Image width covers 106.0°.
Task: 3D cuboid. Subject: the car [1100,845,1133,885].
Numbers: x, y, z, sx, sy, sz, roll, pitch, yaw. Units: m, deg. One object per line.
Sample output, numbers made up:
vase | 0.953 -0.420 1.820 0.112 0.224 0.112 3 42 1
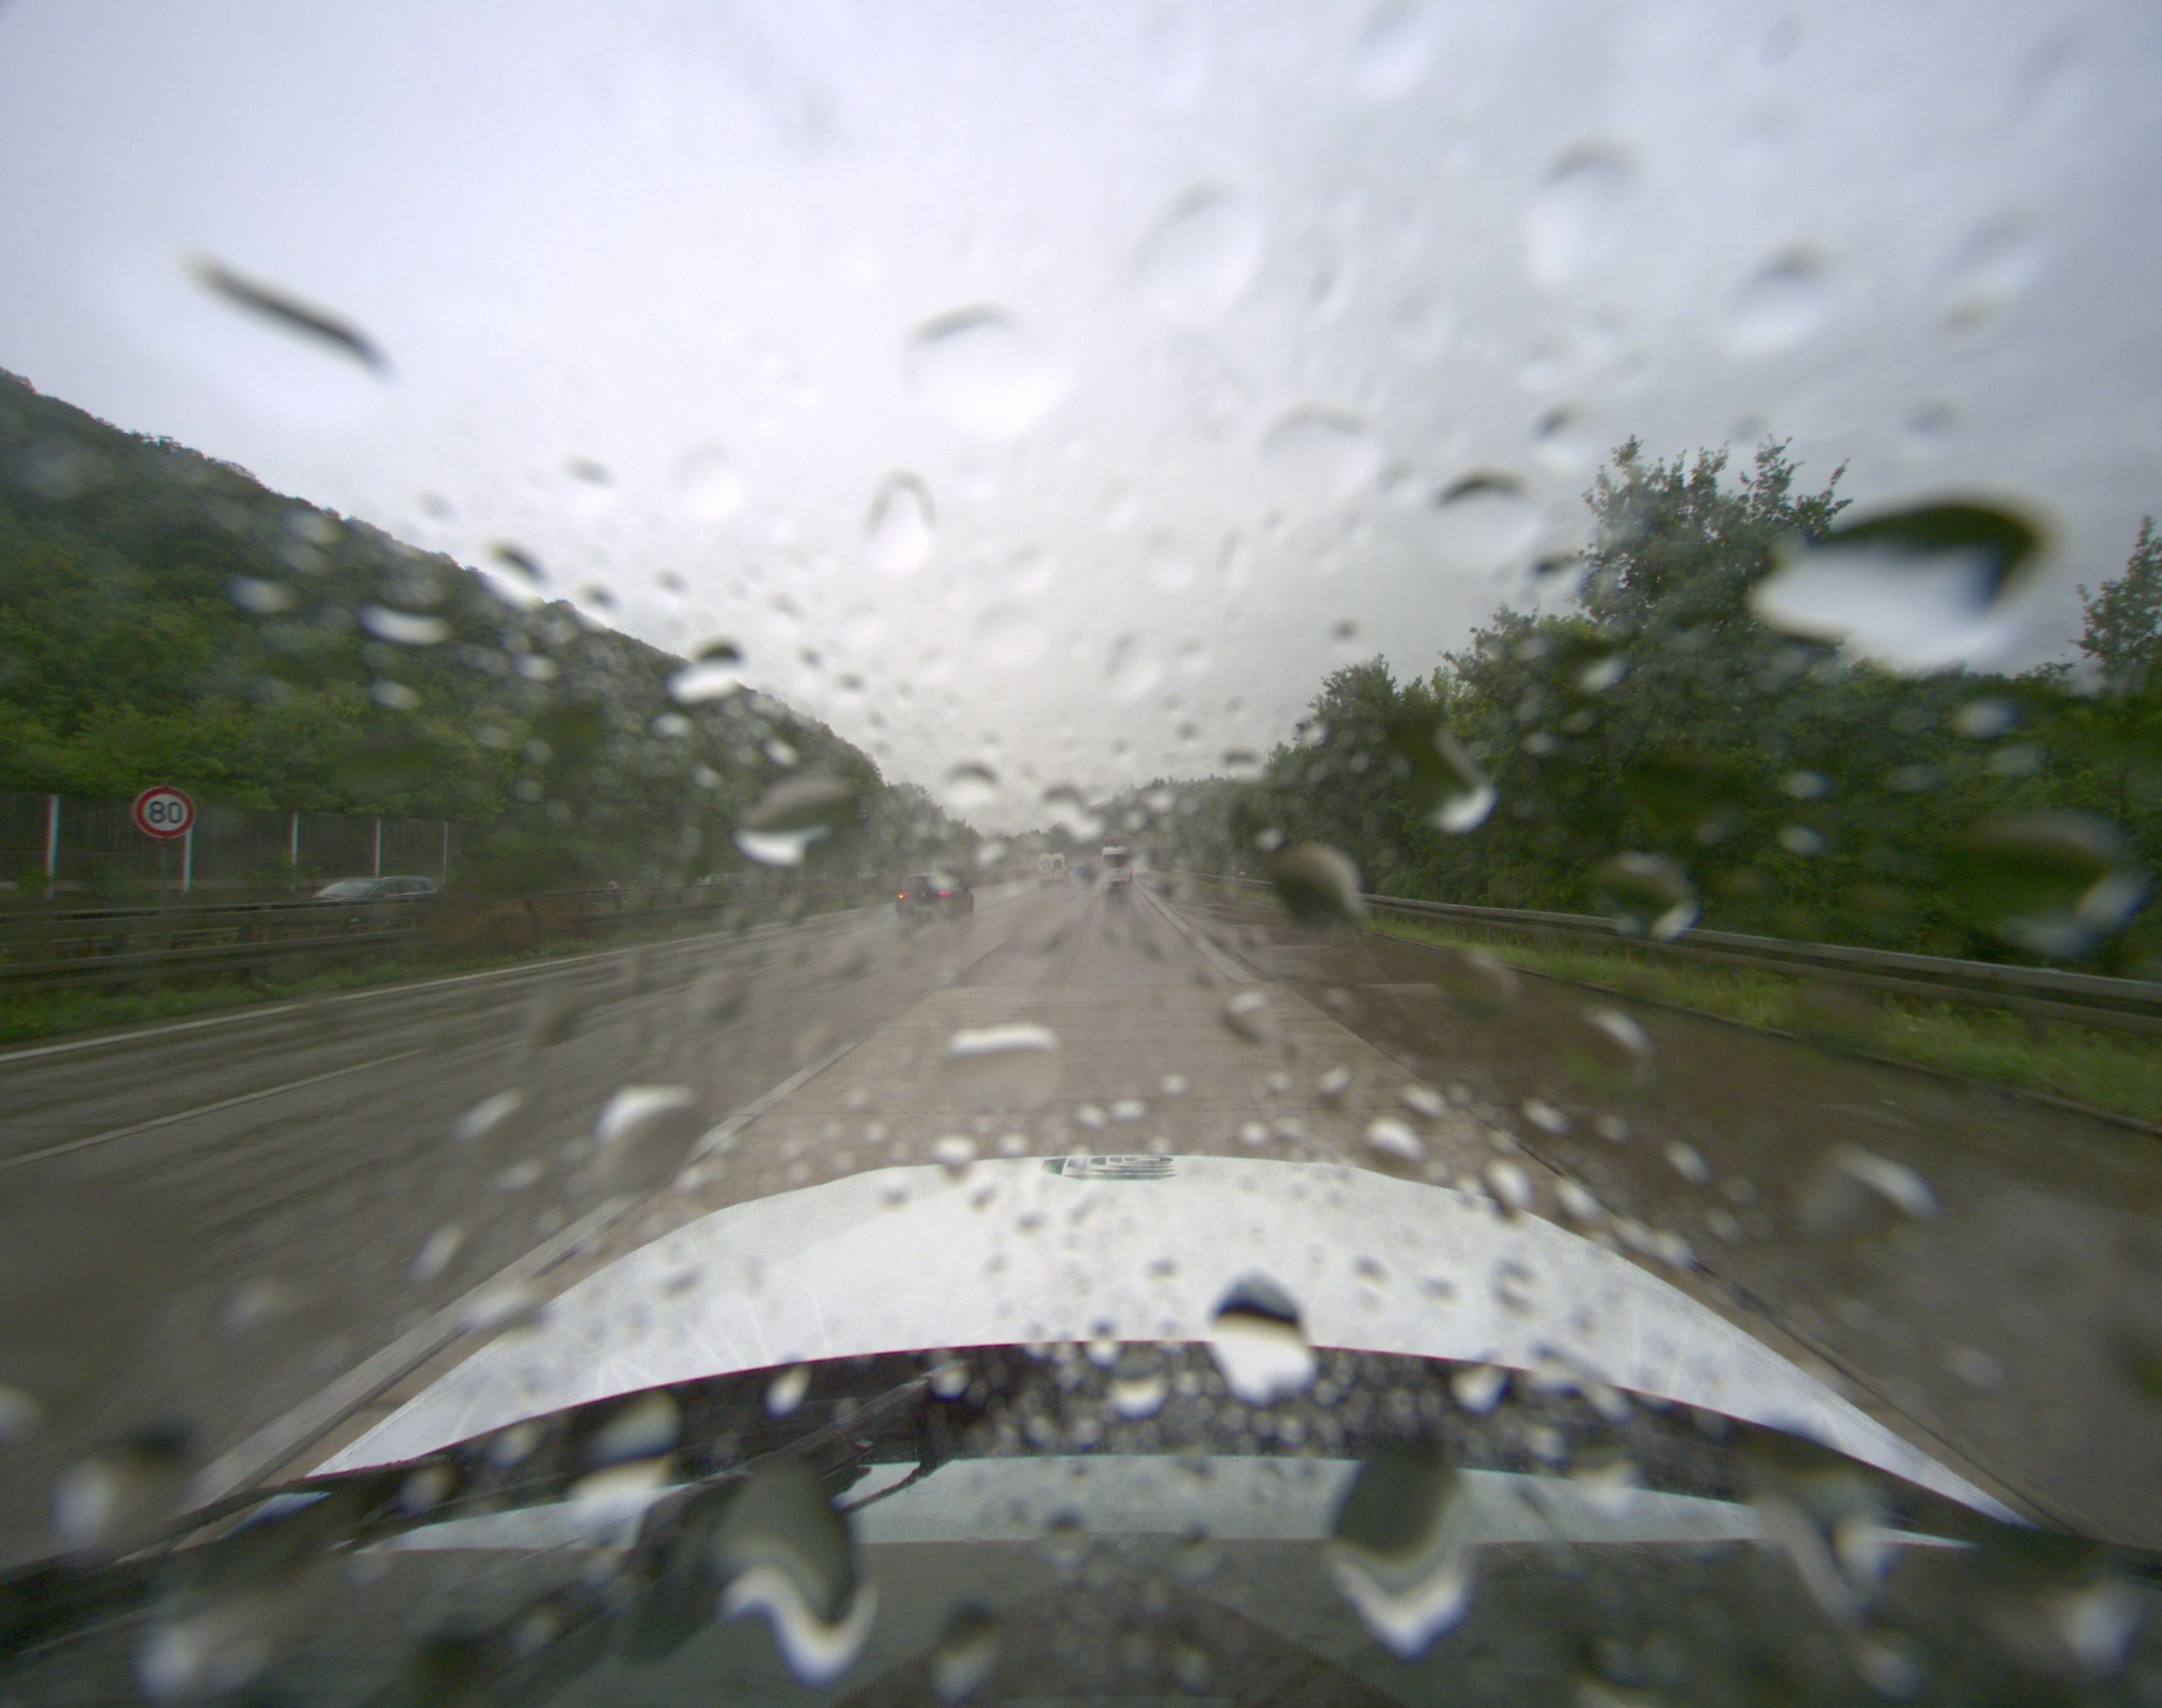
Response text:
car | 2.179 0.692 51.223 1.893 2.334 5.251 0 -1 1

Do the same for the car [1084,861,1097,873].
car | 1.512 2.049 127.906 1.862 1.810 4.189 0 -1 1

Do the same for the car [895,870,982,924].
car | -4.142 1.209 24.329 1.735 1.388 4.321 -2 -1 1

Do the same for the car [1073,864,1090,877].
car | 0.063 1.814 90.261 1.851 1.339 4.349 0 -1 -1

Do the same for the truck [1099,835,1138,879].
truck | 3.665 0.158 80.683 3.372 3.968 8.671 -3 1 2

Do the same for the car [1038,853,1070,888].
car | -1.909 1.196 59.377 1.991 2.432 5.791 0 -1 1

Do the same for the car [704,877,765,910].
car | -19.564 2.211 46.191 1.792 1.662 3.998 -1 -1 -1
